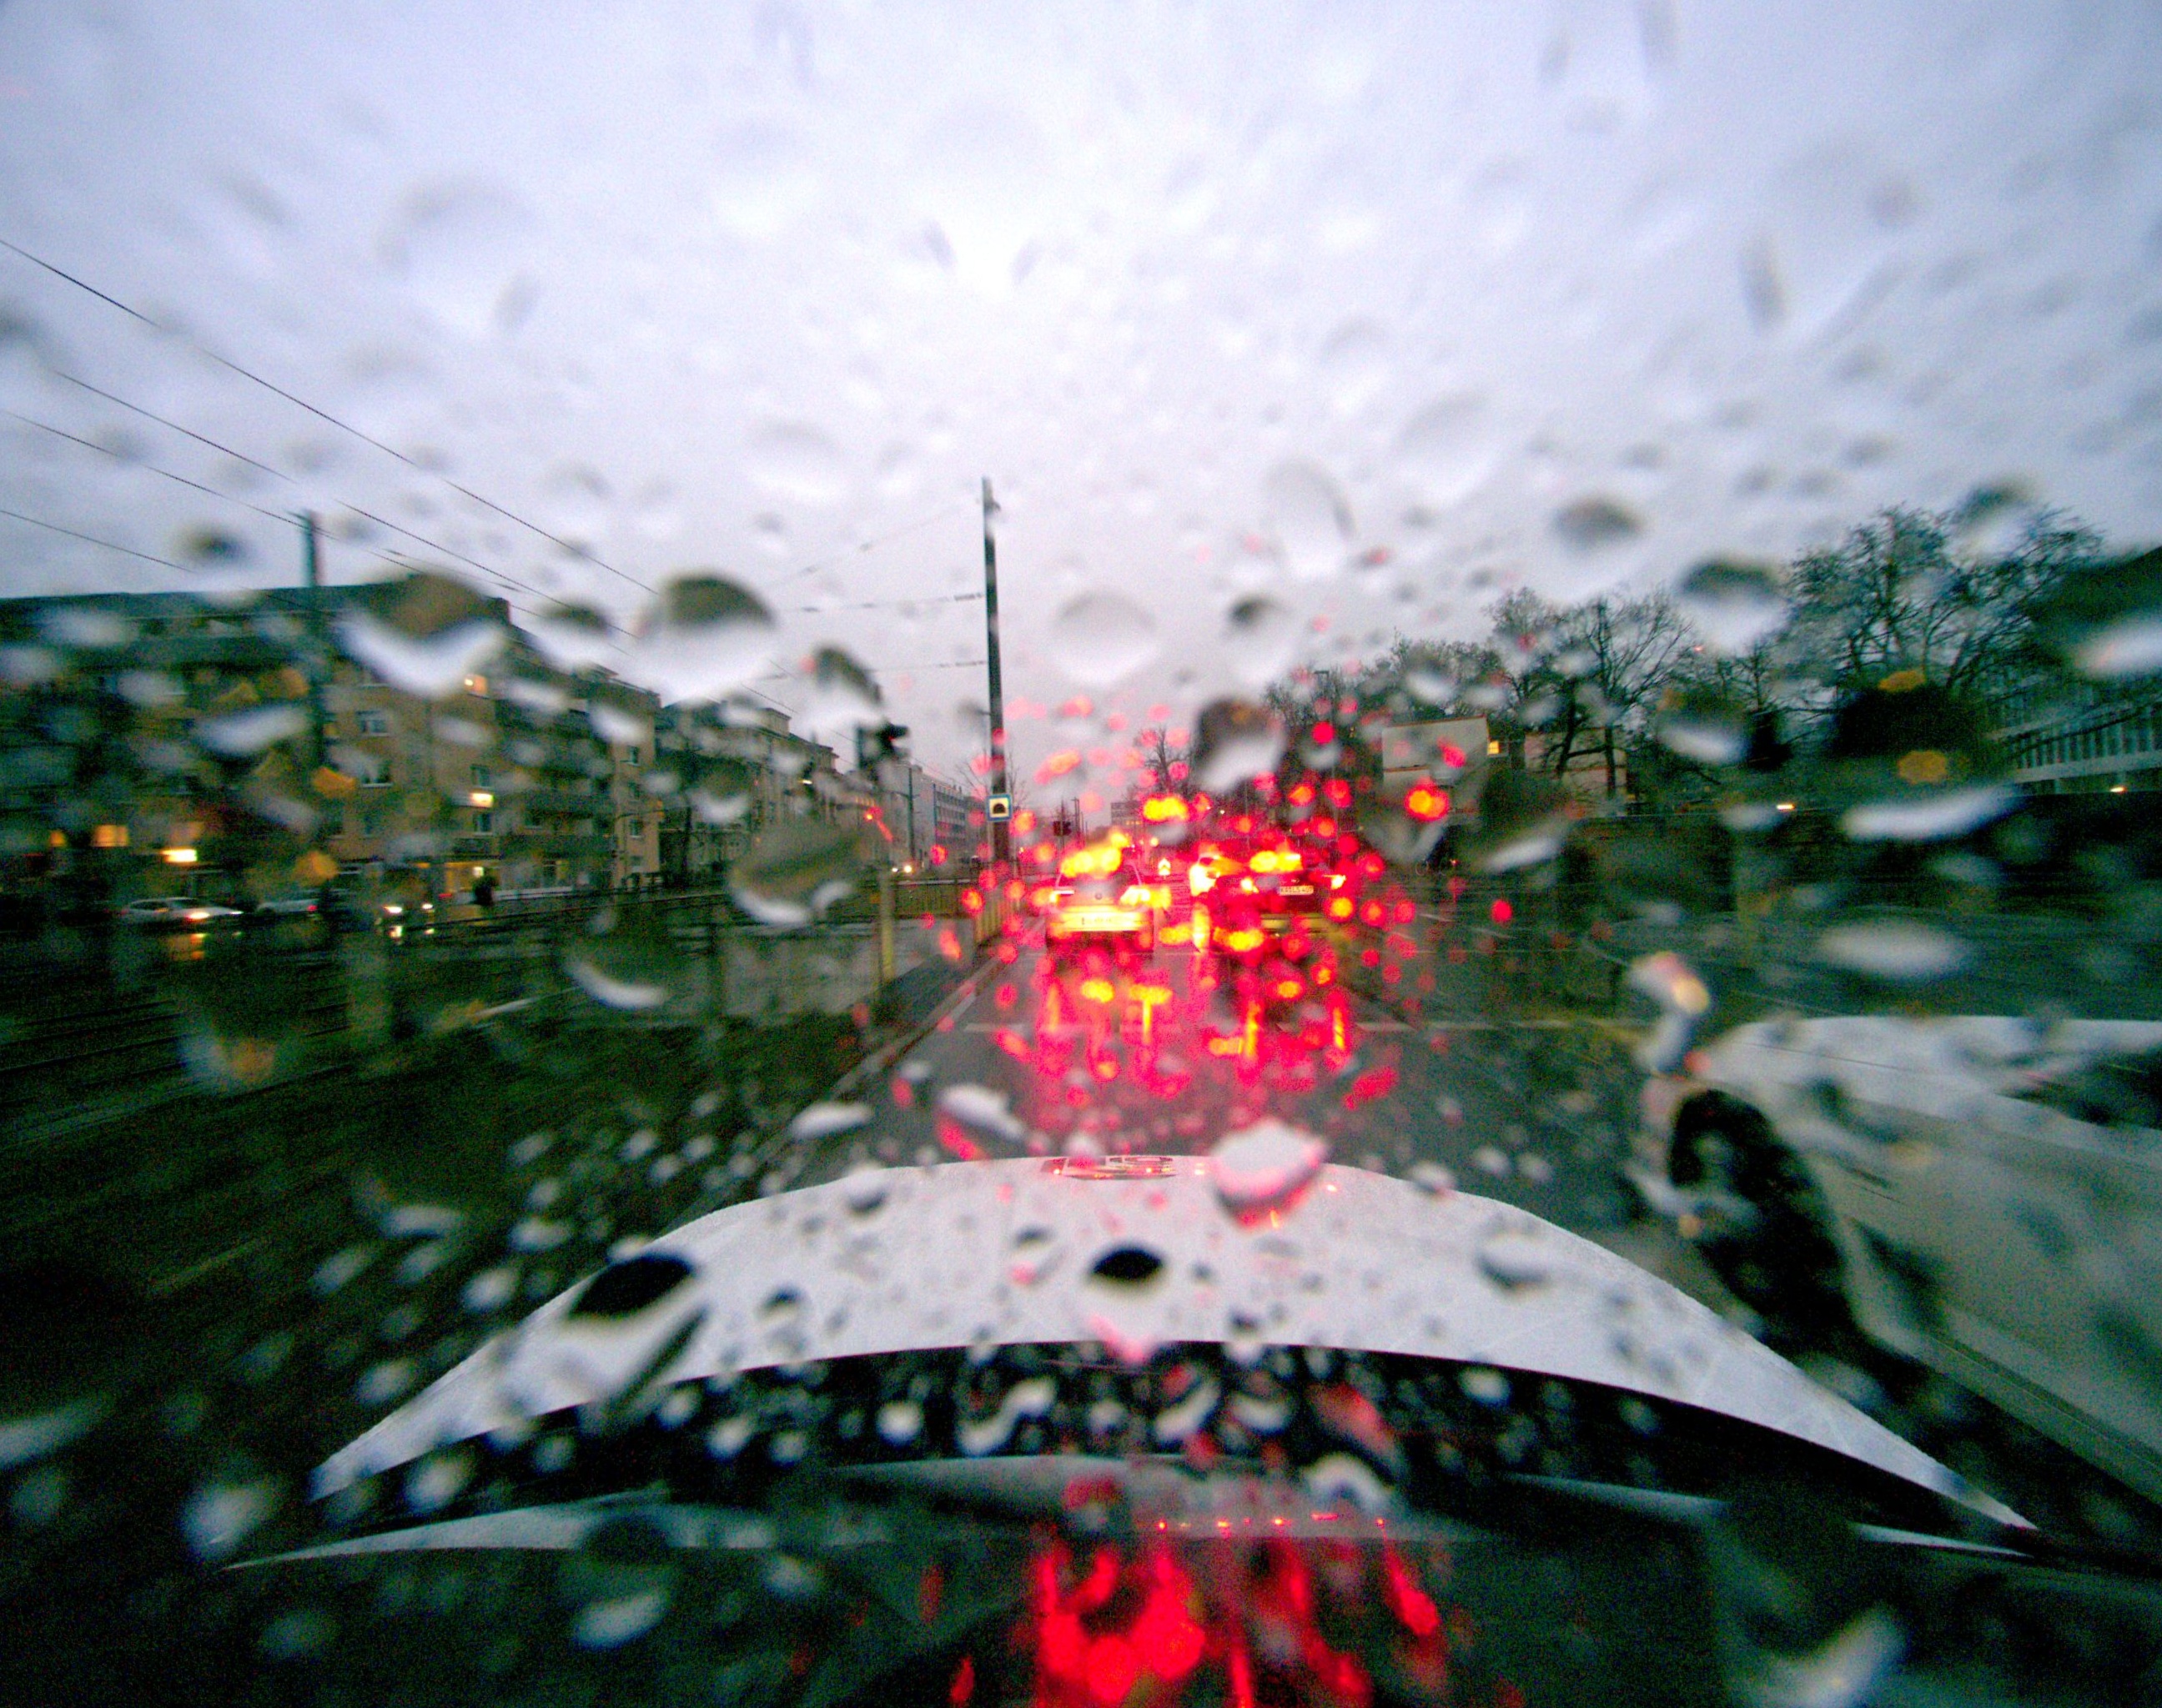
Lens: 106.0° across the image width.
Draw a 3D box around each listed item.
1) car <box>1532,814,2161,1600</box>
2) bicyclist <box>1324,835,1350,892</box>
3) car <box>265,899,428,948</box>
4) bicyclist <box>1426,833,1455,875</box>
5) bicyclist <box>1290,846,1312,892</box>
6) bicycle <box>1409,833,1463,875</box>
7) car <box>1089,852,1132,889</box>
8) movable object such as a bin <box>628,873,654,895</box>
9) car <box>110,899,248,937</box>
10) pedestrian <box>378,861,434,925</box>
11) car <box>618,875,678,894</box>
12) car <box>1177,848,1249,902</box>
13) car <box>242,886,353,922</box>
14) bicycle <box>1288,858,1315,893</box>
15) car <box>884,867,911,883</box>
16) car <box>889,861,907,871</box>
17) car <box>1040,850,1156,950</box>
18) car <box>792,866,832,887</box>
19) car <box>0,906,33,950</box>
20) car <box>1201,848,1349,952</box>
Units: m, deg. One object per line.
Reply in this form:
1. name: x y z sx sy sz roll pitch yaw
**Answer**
1. car: 2.943 0.666 1.297 1.780 1.501 4.968 0 0 1
2. bicyclist: 8.093 0.291 25.797 0.498 1.767 0.837 -2 0 -1
3. car: -30.052 2.806 33.562 4.724 1.545 1.978 -2 0 -35
4. bicyclist: 14.721 -0.006 33.344 0.697 1.679 0.813 -2 0 -18
5. bicyclist: 7.953 0.527 29.398 0.498 1.591 0.837 -2 0 -1
6. bicycle: 14.648 0.014 33.666 0.690 1.657 2.233 0 -1 -19
7. car: 1.295 0.685 34.613 1.715 1.479 4.003 0 -1 3
8. movable object such as a bin: -32.738 2.232 60.564 1.104 1.561 1.424 -3 0 -1
9. car: -39.001 2.744 35.265 3.976 1.511 1.684 0 -1 -2
10. pedestrian: -16.473 0.937 19.878 0.789 1.489 0.630 -2 0 -6
11. car: -35.894 2.523 67.633 3.974 1.407 1.833 -1 -1 0
12. car: 3.864 0.583 24.390 1.715 1.479 4.003 0 -1 3
13. car: -39.407 2.494 41.020 3.813 1.552 1.778 -2 0 0
14. bicycle: 7.950 0.743 29.458 0.410 1.185 1.948 -2 0 0
15. car: -19.204 2.187 85.446 1.795 1.585 4.001 0 -1 1
16. car: -28.025 1.795 124.858 1.801 1.436 3.926 -3 0 -1
17. car: 0.355 0.698 14.124 1.715 1.479 4.003 0 -1 3
18. car: -21.473 1.779 65.193 1.795 1.585 4.001 0 -1 1
19. car: -42.118 2.891 30.229 1.610 1.601 3.642 -2 0 3
20. car: 3.066 0.679 13.647 1.715 1.479 4.003 0 -1 3
